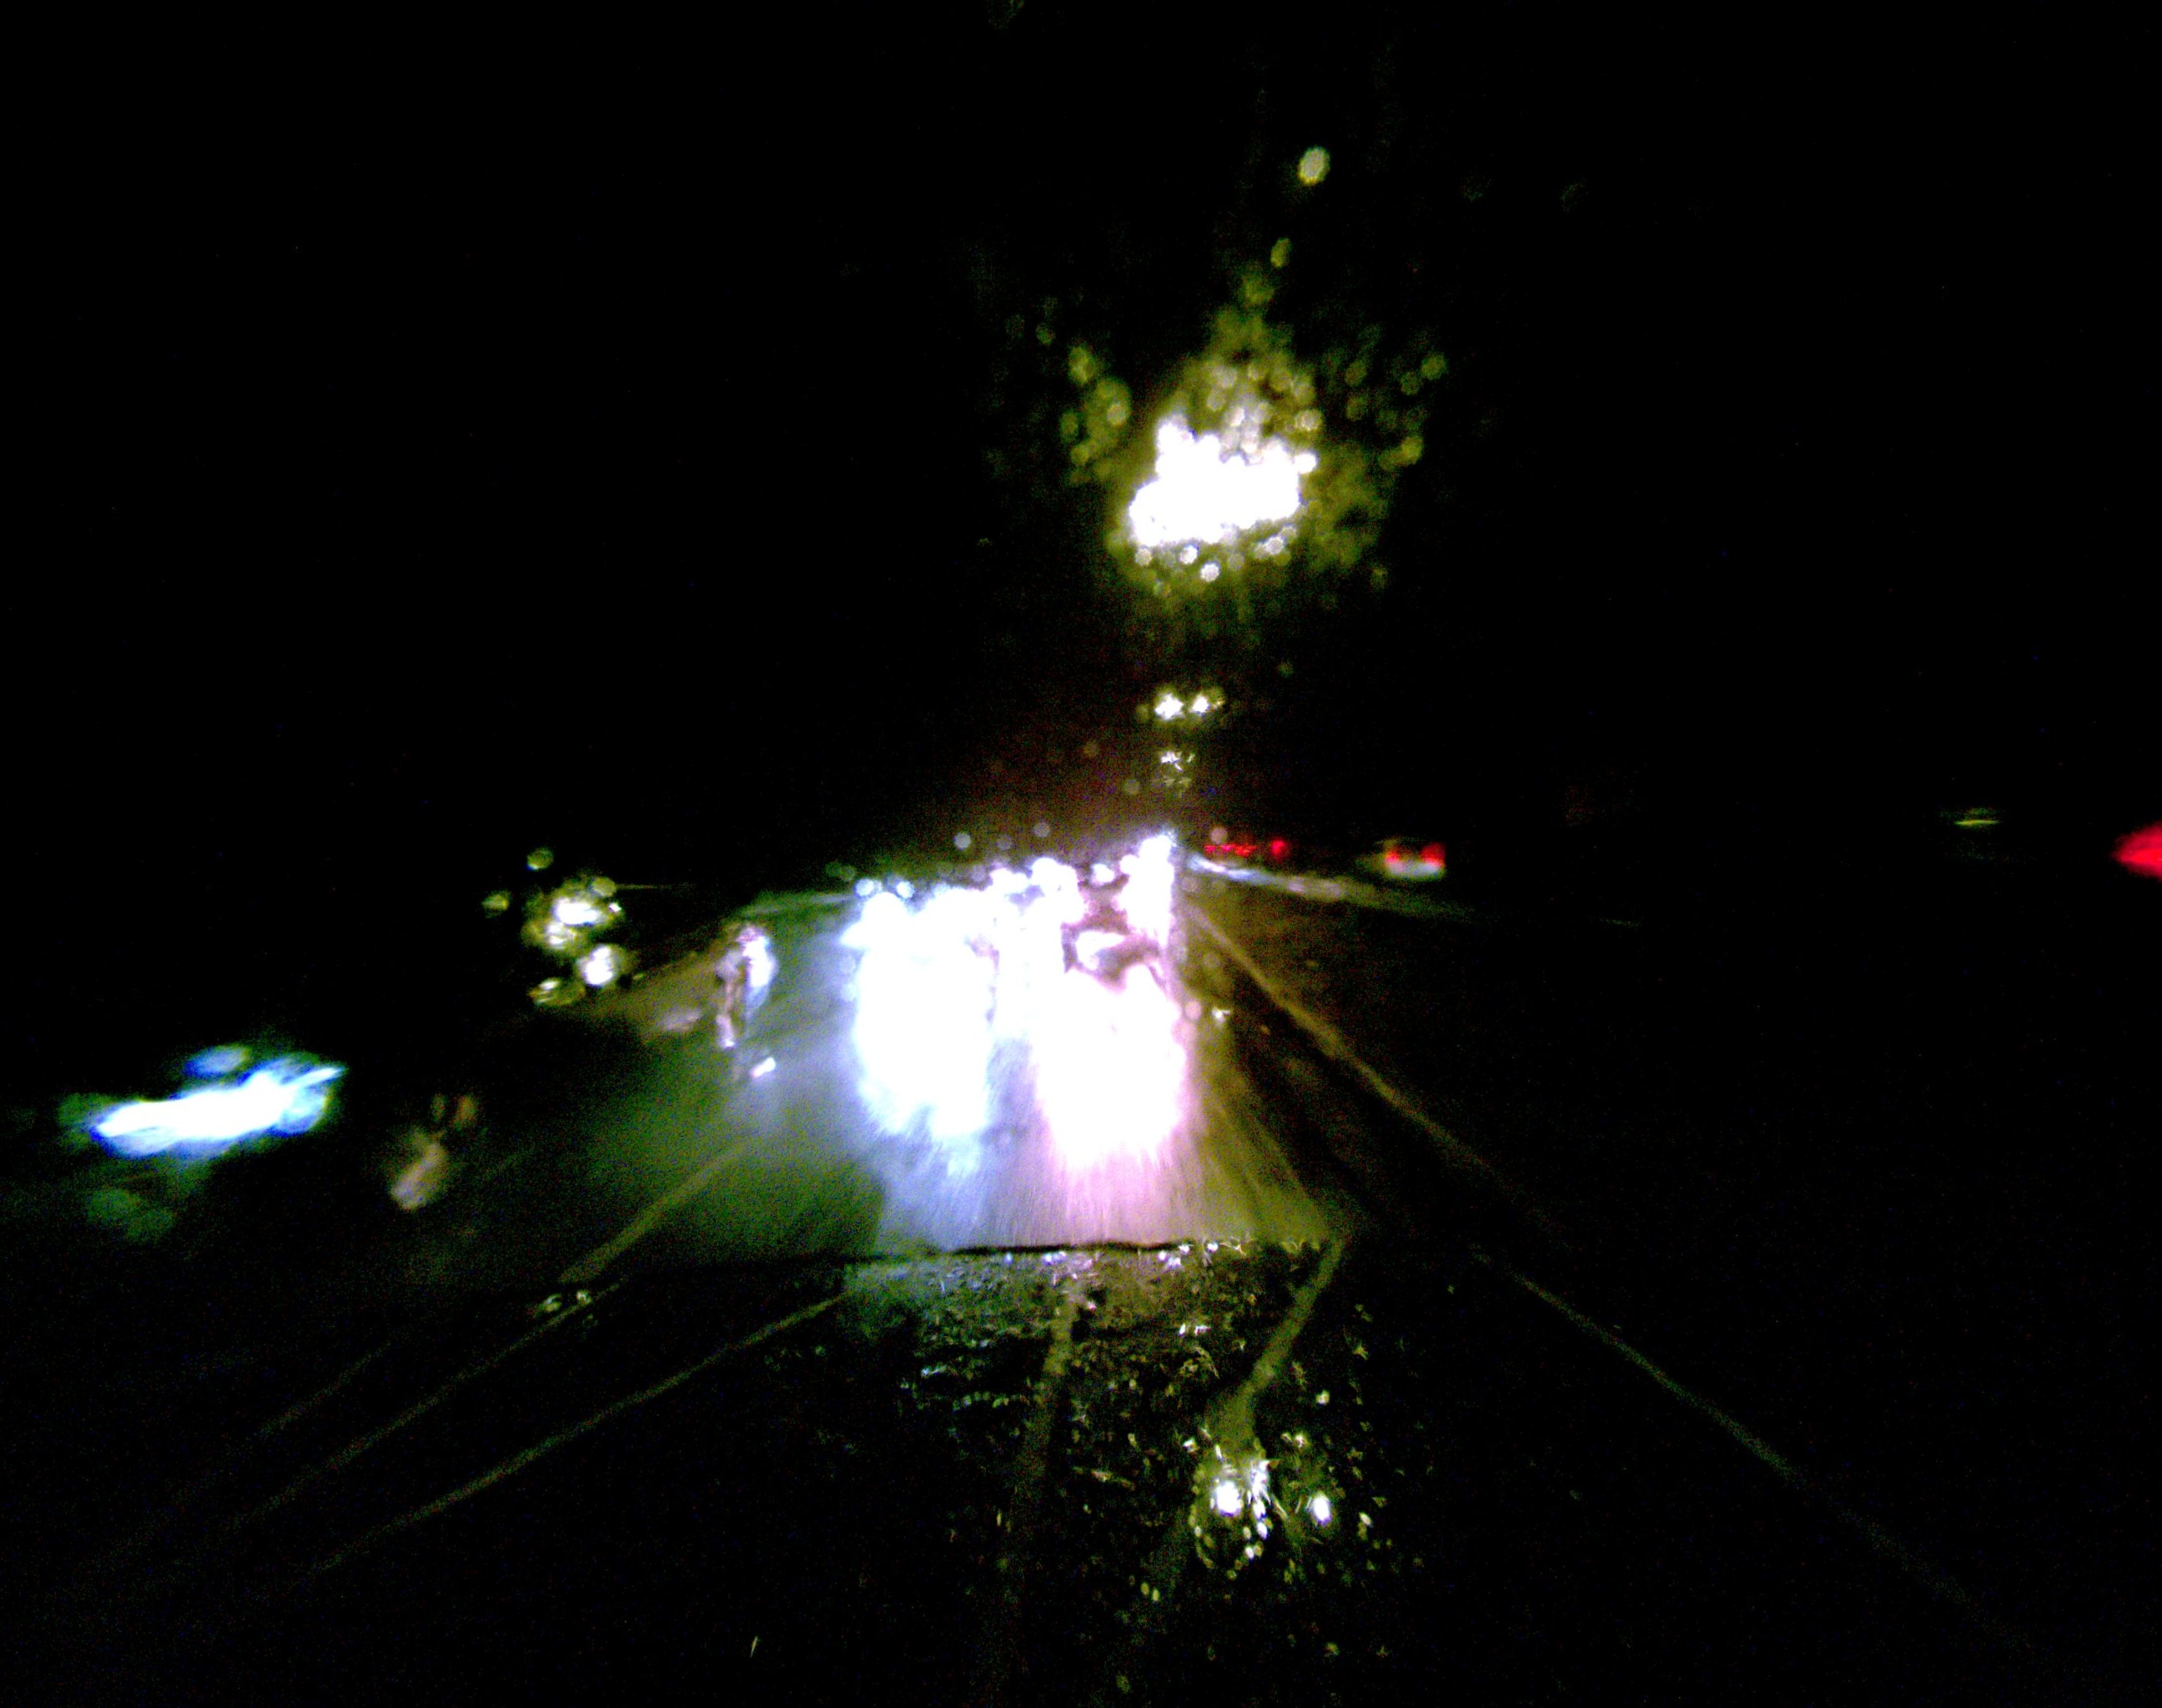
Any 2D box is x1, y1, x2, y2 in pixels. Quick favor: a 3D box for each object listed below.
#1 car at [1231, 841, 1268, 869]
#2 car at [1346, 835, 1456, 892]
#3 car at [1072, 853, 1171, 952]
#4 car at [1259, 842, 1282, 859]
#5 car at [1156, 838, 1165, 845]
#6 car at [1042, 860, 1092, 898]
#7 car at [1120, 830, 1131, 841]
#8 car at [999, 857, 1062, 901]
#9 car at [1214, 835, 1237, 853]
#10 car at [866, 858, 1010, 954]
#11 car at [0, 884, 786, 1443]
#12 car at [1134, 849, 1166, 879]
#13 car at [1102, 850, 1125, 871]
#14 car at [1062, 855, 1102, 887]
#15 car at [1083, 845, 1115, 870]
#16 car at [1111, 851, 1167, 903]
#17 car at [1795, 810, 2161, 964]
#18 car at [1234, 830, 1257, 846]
[{"bbox_3d":[11.509,0.040,52.098,1.769,1.622,4.249,-3,3,3],"label":"car"},{"bbox_3d":[9.805,0.295,23.584,1.853,1.562,3.507,-3,0,-1],"label":"car"},{"bbox_3d":[0.815,0.774,13.640,1.496,1.416,3.390,-3,1,6],"label":"car"},{"bbox_3d":[17.357,-0.267,69.825,1.714,1.414,4.672,-2,-1,10],"label":"car"},{"bbox_3d":[21.104,-3.369,201.467,1.997,1.669,4.001,-3,1,8],"label":"car"},{"bbox_3d":[-0.648,1.194,37.977,1.998,1.589,4.392,-2,1,5],"label":"car"},{"bbox_3d":[9.164,-3.783,155.912,1.998,2.002,4.000,-3,1,4],"label":"car"},{"bbox_3d":[-1.913,0.934,29.965,1.742,1.409,4.140,-3,1,6],"label":"car"},{"bbox_3d":[14.002,-0.988,73.720,1.873,1.598,4.249,-3,2,7],"label":"car"},{"bbox_3d":[-2.795,0.953,15.950,1.710,1.513,4.415,-3,1,5],"label":"car"},{"bbox_3d":[-3.744,1.090,4.620,1.676,1.497,4.561,-5,0,5],"label":"car"},{"bbox_3d":[5.097,0.719,56.958,1.998,2.002,3.999,-4,1,1],"label":"car"},{"bbox_3d":[3.183,0.589,73.208,1.998,1.790,4.001,-2,1,5],"label":"car"},{"bbox_3d":[0.122,0.958,45.042,1.998,1.589,4.392,-2,1,5],"label":"car"},{"bbox_3d":[1.325,0.210,54.814,1.998,1.589,4.392,-2,1,5],"label":"car"},{"bbox_3d":[1.953,0.704,25.362,1.605,1.417,3.389,-5,1,5],"label":"car"},{"bbox_3d":[11.953,0.293,9.432,1.779,1.584,4.558,-2,1,-2],"label":"car"},{"bbox_3d":[20.621,-2.049,95.323,1.875,1.849,3.999,-4,1,-1],"label":"car"}]
